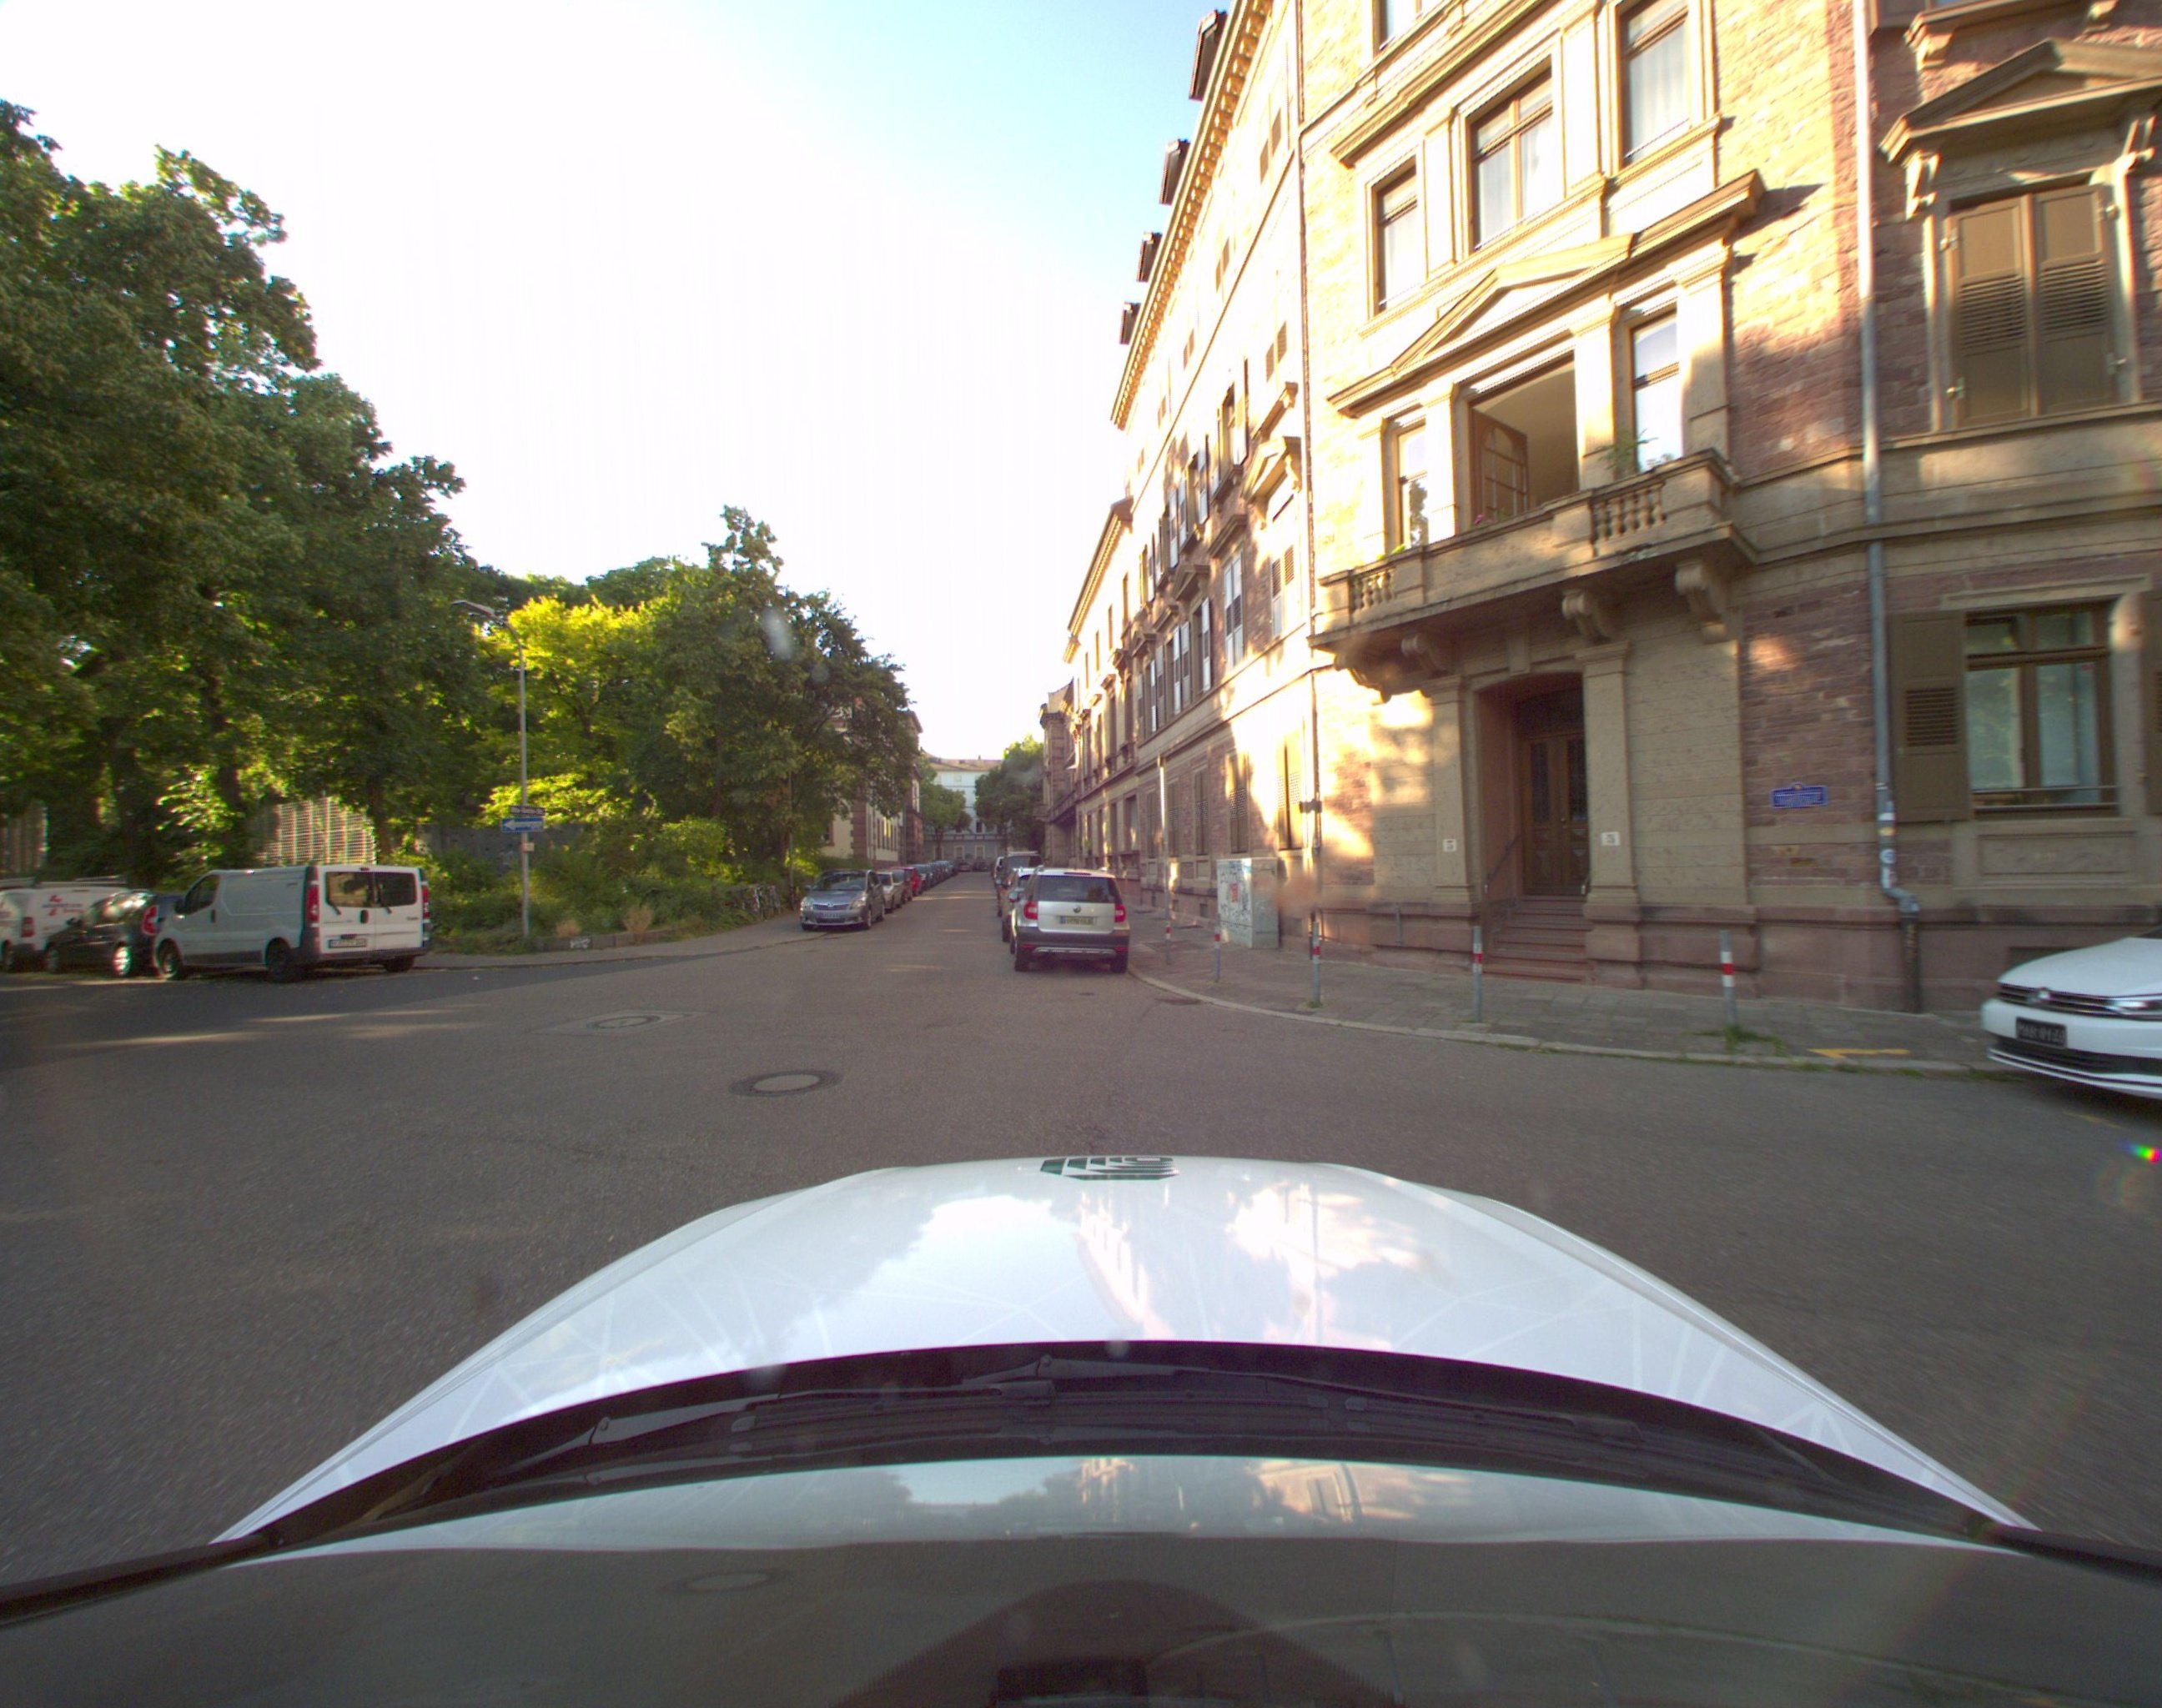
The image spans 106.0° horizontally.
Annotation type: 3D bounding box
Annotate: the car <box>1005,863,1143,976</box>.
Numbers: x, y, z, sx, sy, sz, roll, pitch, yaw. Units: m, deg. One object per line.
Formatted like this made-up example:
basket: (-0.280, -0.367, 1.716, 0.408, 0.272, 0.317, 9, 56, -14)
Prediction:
car: (-0.286, 1.029, 14.277, 1.914, 1.657, 4.176, 2, -1, -7)

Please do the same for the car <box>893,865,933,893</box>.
car: (-9.809, 1.420, 47.769, 1.824, 1.500, 3.922, 2, -1, -6)

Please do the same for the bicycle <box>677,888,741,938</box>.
bicycle: (-9.438, 1.469, 20.795, 0.595, 1.101, 2.623, -1, -1, -4)

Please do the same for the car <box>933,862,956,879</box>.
car: (-13.208, 1.591, 78.974, 1.824, 1.500, 3.922, 2, -1, -6)

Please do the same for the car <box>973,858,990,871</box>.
car: (-13.838, 1.525, 112.854, 1.995, 1.684, 3.982, 0, -3, -12)

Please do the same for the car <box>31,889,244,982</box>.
car: (-18.839, 1.572, 16.273, 3.668, 1.637, 1.584, -2, -1, 20)

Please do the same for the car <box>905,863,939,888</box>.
car: (-10.386, 1.393, 53.350, 1.824, 1.500, 3.922, 2, -1, -6)

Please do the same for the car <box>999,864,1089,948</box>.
car: (-0.991, 1.128, 19.313, 1.824, 1.724, 4.533, 2, -1, -6)

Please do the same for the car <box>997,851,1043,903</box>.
car: (-2.689, 0.976, 35.274, 1.796, 2.073, 3.946, 1, -1, -7)

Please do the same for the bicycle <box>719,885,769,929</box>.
bicycle: (-9.689, 1.489, 23.497, 0.596, 1.101, 2.621, -1, -1, -6)

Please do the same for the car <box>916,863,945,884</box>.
car: (-11.659, 1.514, 63.383, 1.824, 1.500, 3.922, 2, -1, -6)

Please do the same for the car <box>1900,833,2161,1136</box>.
car: (8.154, 0.698, 4.674, 4.446, 1.650, 1.883, -2, -3, 19)

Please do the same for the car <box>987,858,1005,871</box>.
car: (-11.860, 1.541, 113.596, 1.995, 1.684, 3.982, 0, -3, -12)

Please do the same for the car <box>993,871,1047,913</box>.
car: (-2.274, 1.339, 29.546, 1.796, 1.345, 3.946, 1, -1, -7)

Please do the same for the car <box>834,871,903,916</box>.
car: (-7.686, 1.386, 29.791, 1.824, 1.447, 3.922, 2, -1, -6)

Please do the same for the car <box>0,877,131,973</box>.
car: (-23.039, 1.507, 17.983, 3.854, 1.903, 1.585, -2, -1, 23)

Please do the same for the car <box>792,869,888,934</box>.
car: (-6.760, 1.282, 23.338, 1.824, 1.615, 4.282, 2, -1, -6)

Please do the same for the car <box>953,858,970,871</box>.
car: (-16.476, 1.512, 112.049, 1.995, 1.684, 3.982, 0, -3, -12)

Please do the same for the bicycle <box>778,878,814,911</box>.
bicycle: (-10.438, 1.469, 29.956, 0.596, 1.101, 2.622, -1, -1, -5)

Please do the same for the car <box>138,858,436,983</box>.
car: (-14.387, 1.144, 14.787, 4.606, 2.003, 1.960, -2, -1, 19)

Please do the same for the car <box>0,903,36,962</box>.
car: (-27.537, 1.946, 19.903, 3.556, 1.386, 1.585, -2, -1, 23)

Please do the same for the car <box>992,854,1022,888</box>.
car: (-4.763, 1.075, 52.155, 1.796, 2.073, 3.946, 1, -1, -7)

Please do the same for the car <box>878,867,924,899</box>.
car: (-9.129, 1.440, 41.558, 1.824, 1.500, 3.922, 2, -1, -6)

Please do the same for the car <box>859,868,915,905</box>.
car: (-8.352, 1.362, 35.308, 1.824, 1.478, 3.922, 2, -1, -6)

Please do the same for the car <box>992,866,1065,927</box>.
car: (-1.630, 1.195, 24.199, 1.797, 1.614, 3.943, 1, -1, -9)

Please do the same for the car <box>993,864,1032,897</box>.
car: (-3.485, 1.297, 40.870, 1.796, 1.524, 3.946, 1, -1, -7)

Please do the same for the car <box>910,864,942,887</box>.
car: (-10.941, 1.479, 57.739, 1.824, 1.500, 3.922, 2, -1, -6)

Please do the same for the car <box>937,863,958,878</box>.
car: (-13.758, 1.683, 84.033, 1.824, 1.500, 3.922, 2, -1, -6)
